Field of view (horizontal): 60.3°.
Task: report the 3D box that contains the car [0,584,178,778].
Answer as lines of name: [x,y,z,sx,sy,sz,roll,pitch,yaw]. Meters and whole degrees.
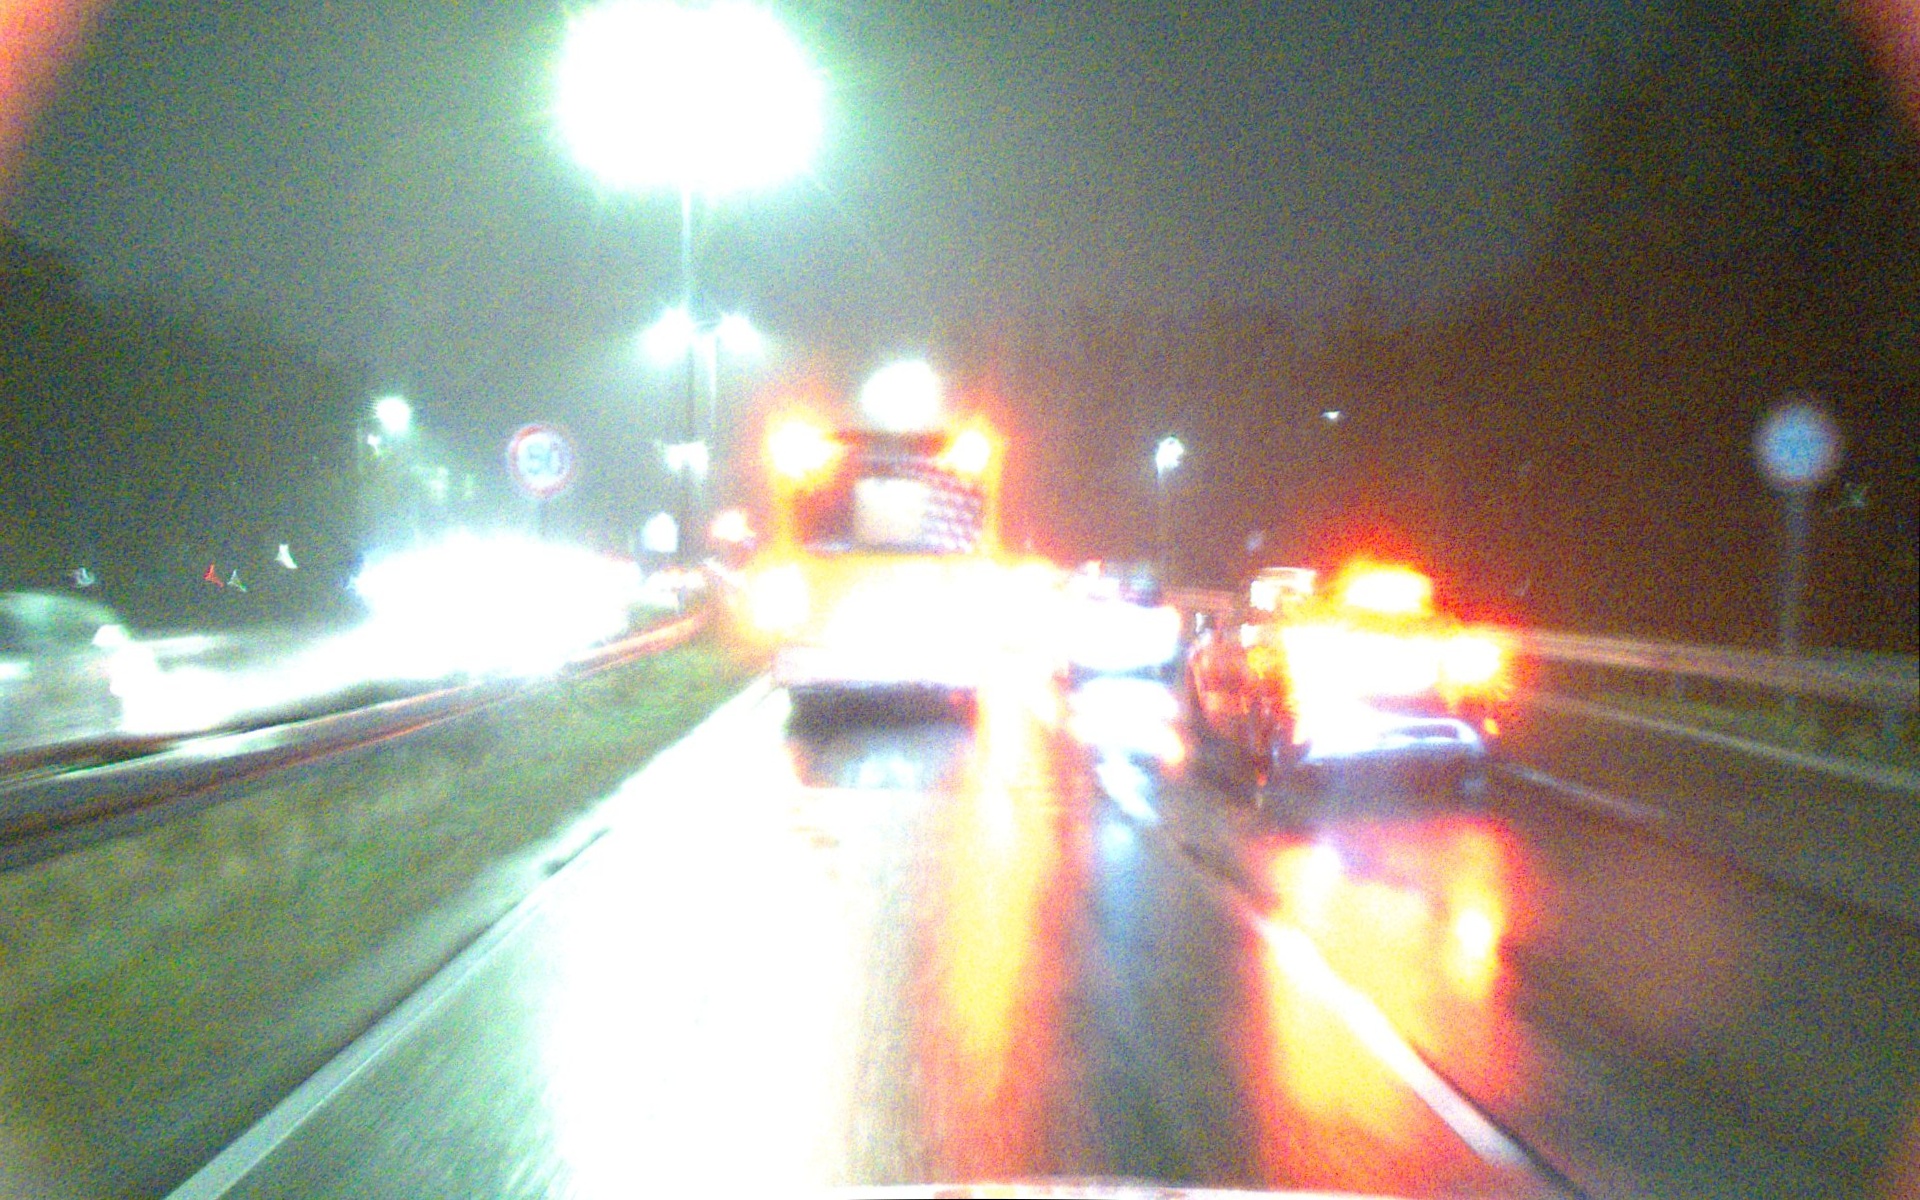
car: [-8.717,0.691,14.977,1.537,1.569,4.157,-4,1,-5]

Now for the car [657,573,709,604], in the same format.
car: [-15.612,-0.640,93.251,1.733,1.659,3.586,1,0,-30]

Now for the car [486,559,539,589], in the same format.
car: [-31.324,-1.815,115.655,1.983,2.049,3.938,1,0,-42]

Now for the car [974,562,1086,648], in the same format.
car: [1.356,0.071,33.491,1.784,1.618,3.773,-1,1,-5]

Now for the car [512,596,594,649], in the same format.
car: [-12.713,0.665,51.901,1.782,1.418,4.456,-4,1,-6]

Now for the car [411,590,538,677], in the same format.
car: [-10.390,0.672,35.674,1.774,1.595,3.996,-4,1,-5]

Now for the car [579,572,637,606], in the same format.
car: [-21.919,-0.665,102.833,2.192,2.049,3.952,-1,1,-34]

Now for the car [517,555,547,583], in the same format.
car: [-32.139,-2.316,124.195,2.086,2.049,3.985,1,0,-14]

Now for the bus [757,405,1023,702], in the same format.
bus: [-0.968,-0.522,21.573,2.759,3.077,8.682,0,1,-3]

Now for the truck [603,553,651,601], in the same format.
truck: [-18.657,-1.307,92.546,1.829,2.434,4.750,-2,4,-21]

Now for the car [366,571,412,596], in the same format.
car: [-44.872,-1.310,129.976,1.983,1.715,3.939,2,2,-42]

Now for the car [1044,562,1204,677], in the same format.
car: [2.439,0.255,25.481,1.784,1.618,3.773,-1,1,-5]

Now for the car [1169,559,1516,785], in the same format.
car: [2.952,0.494,13.595,1.705,1.592,3.773,1,1,-5]

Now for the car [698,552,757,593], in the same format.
car: [-12.066,-1.402,85.634,1.969,2.049,3.968,1,0,-25]

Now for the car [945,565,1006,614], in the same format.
car: [0.486,-0.350,55.252,1.744,1.570,3.872,1,1,-3]
